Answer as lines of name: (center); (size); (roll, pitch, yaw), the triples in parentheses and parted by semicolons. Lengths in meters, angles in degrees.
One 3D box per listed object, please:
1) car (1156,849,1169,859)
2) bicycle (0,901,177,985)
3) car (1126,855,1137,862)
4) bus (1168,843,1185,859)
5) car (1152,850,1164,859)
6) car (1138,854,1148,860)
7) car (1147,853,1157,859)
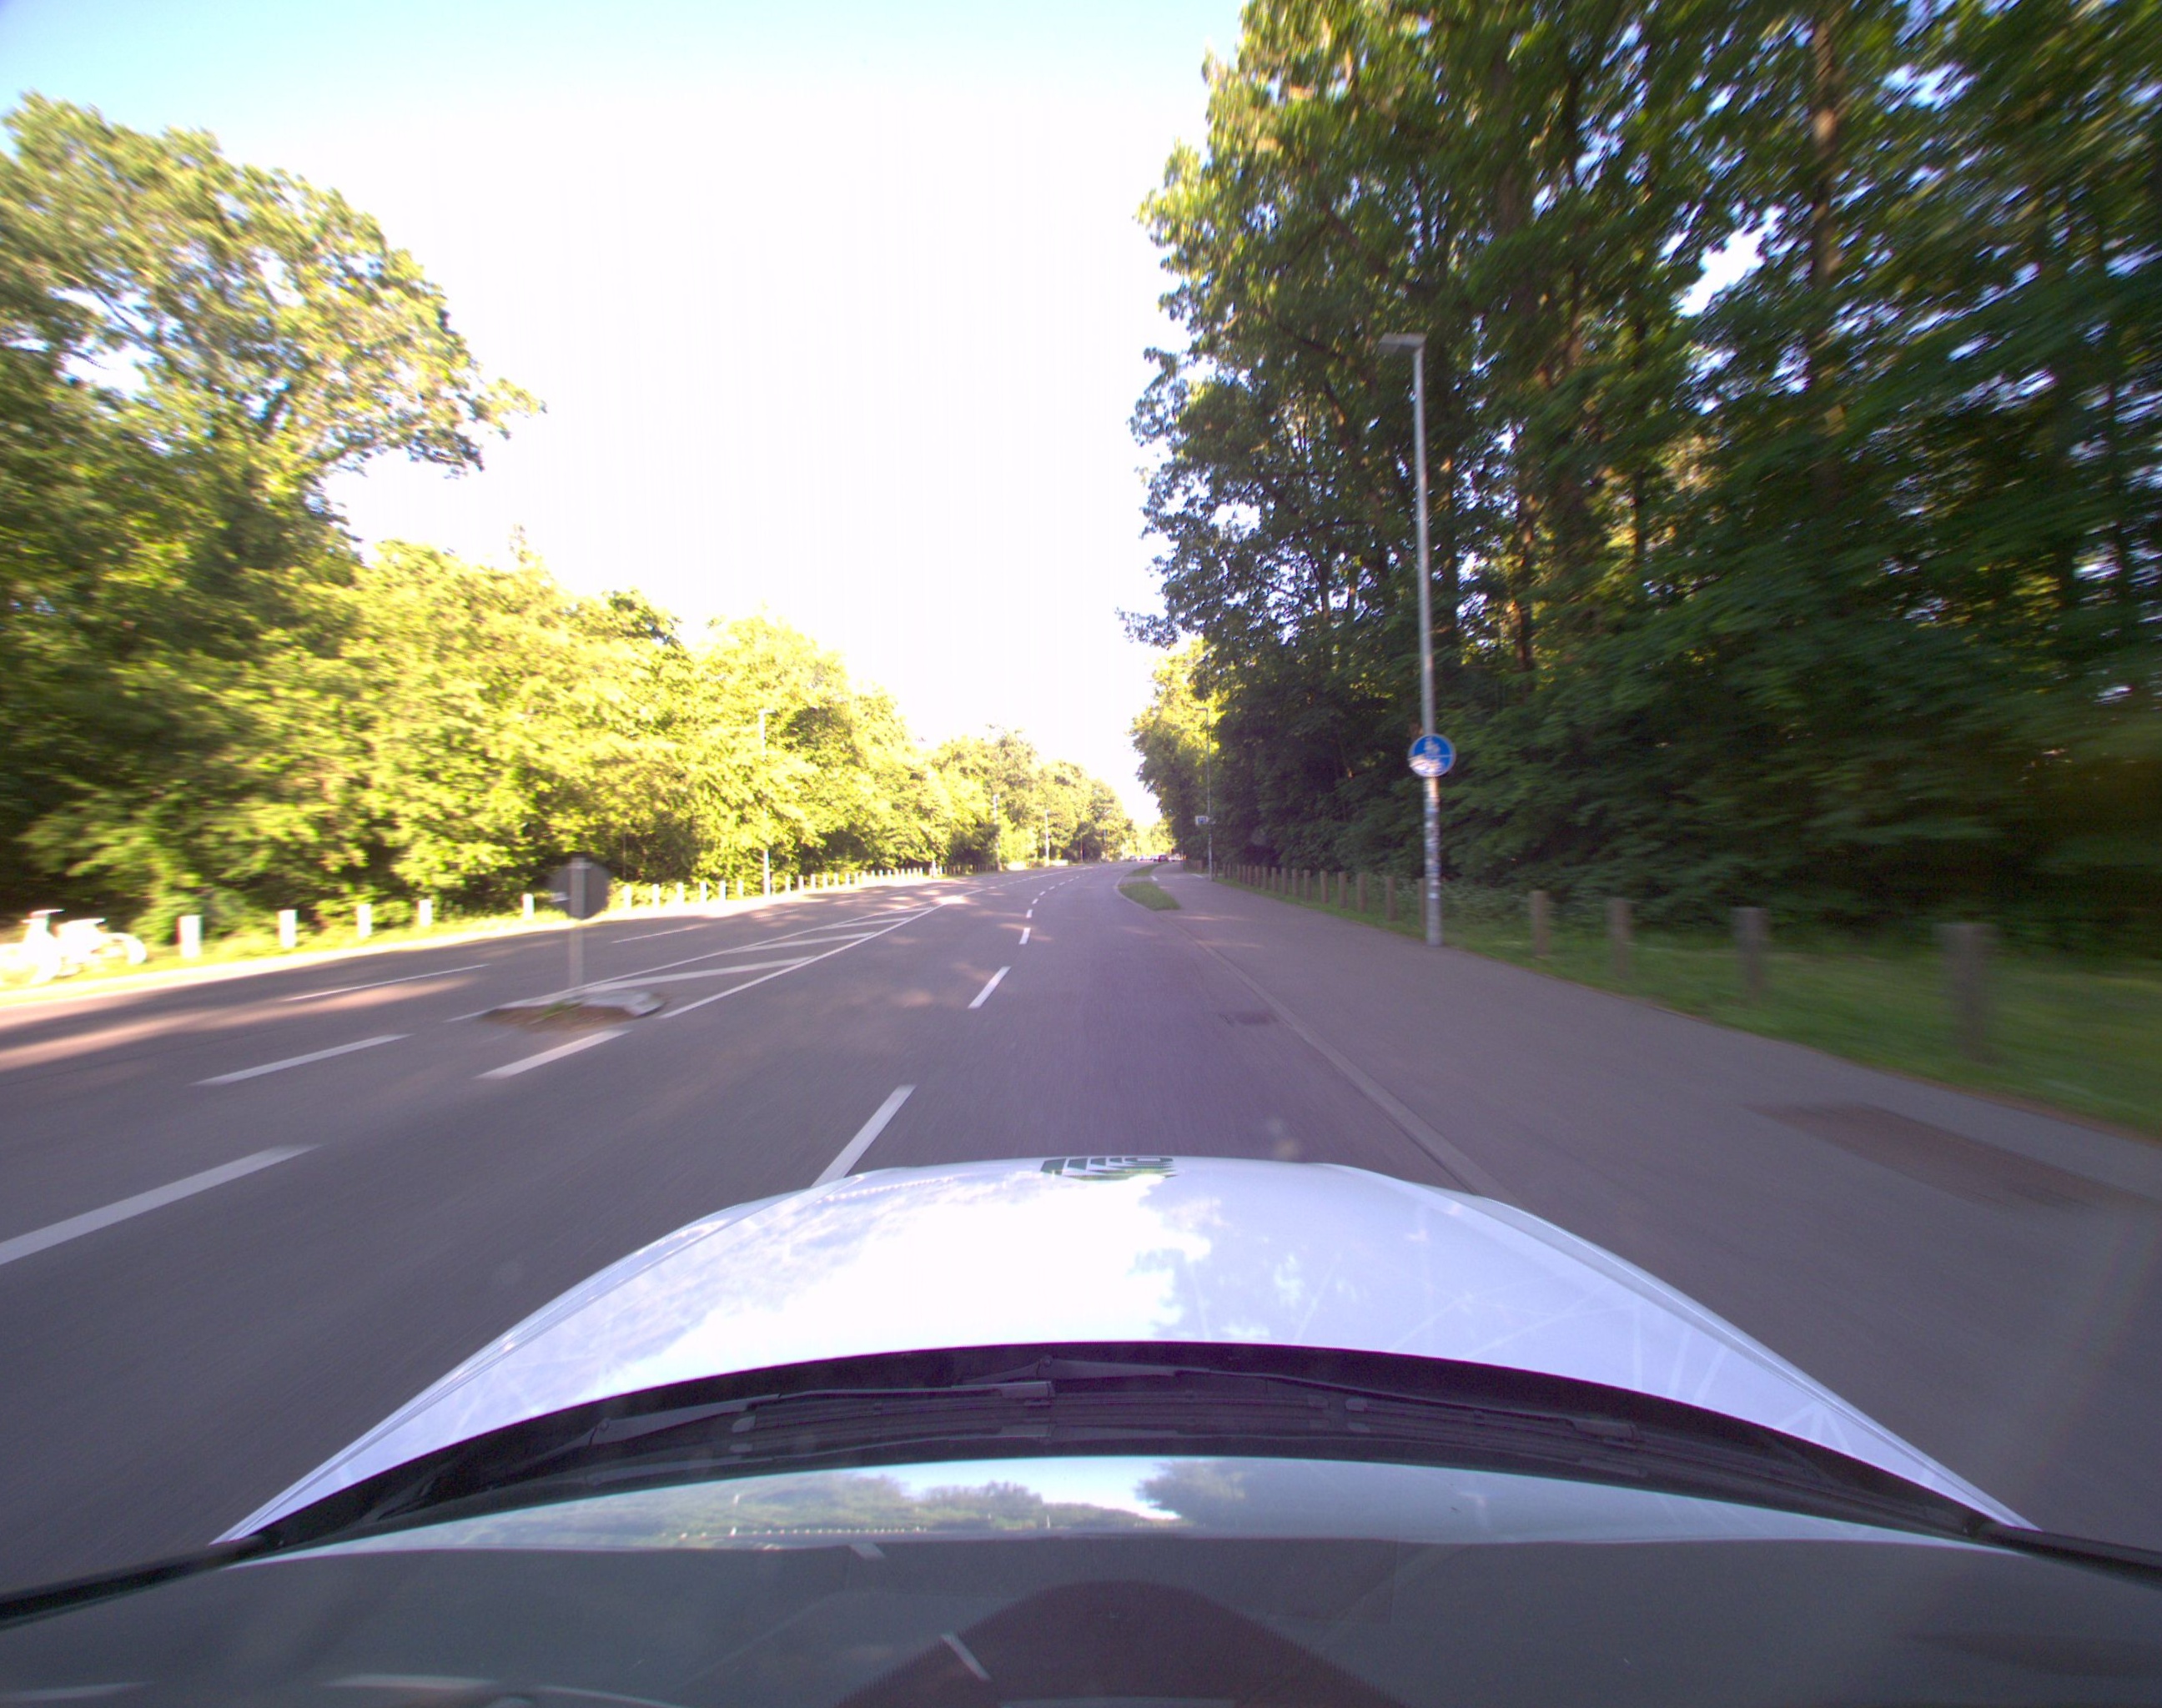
car: (15.945, 0.001, 159.511); (1.867, 1.765, 4.016); (-2, 0, 14)
bicycle: (-16.127, 1.388, 13.092); (0.398, 1.132, 2.226); (0, 0, 11)
car: (11.280, 0.929, 182.305); (1.767, 1.408, 4.179); (-1, 1, 12)
bus: (20.882, -0.789, 178.217); (2.586, 3.368, 8.006); (-1, 0, 14)
car: (16.219, 0.107, 171.602); (1.867, 1.709, 4.016); (-2, 0, 14)
car: (15.318, 0.794, 201.808); (1.767, 1.464, 4.291); (-2, 0, 14)
car: (19.125, 0.500, 219.523); (1.769, 1.522, 4.416); (-2, 0, 16)
